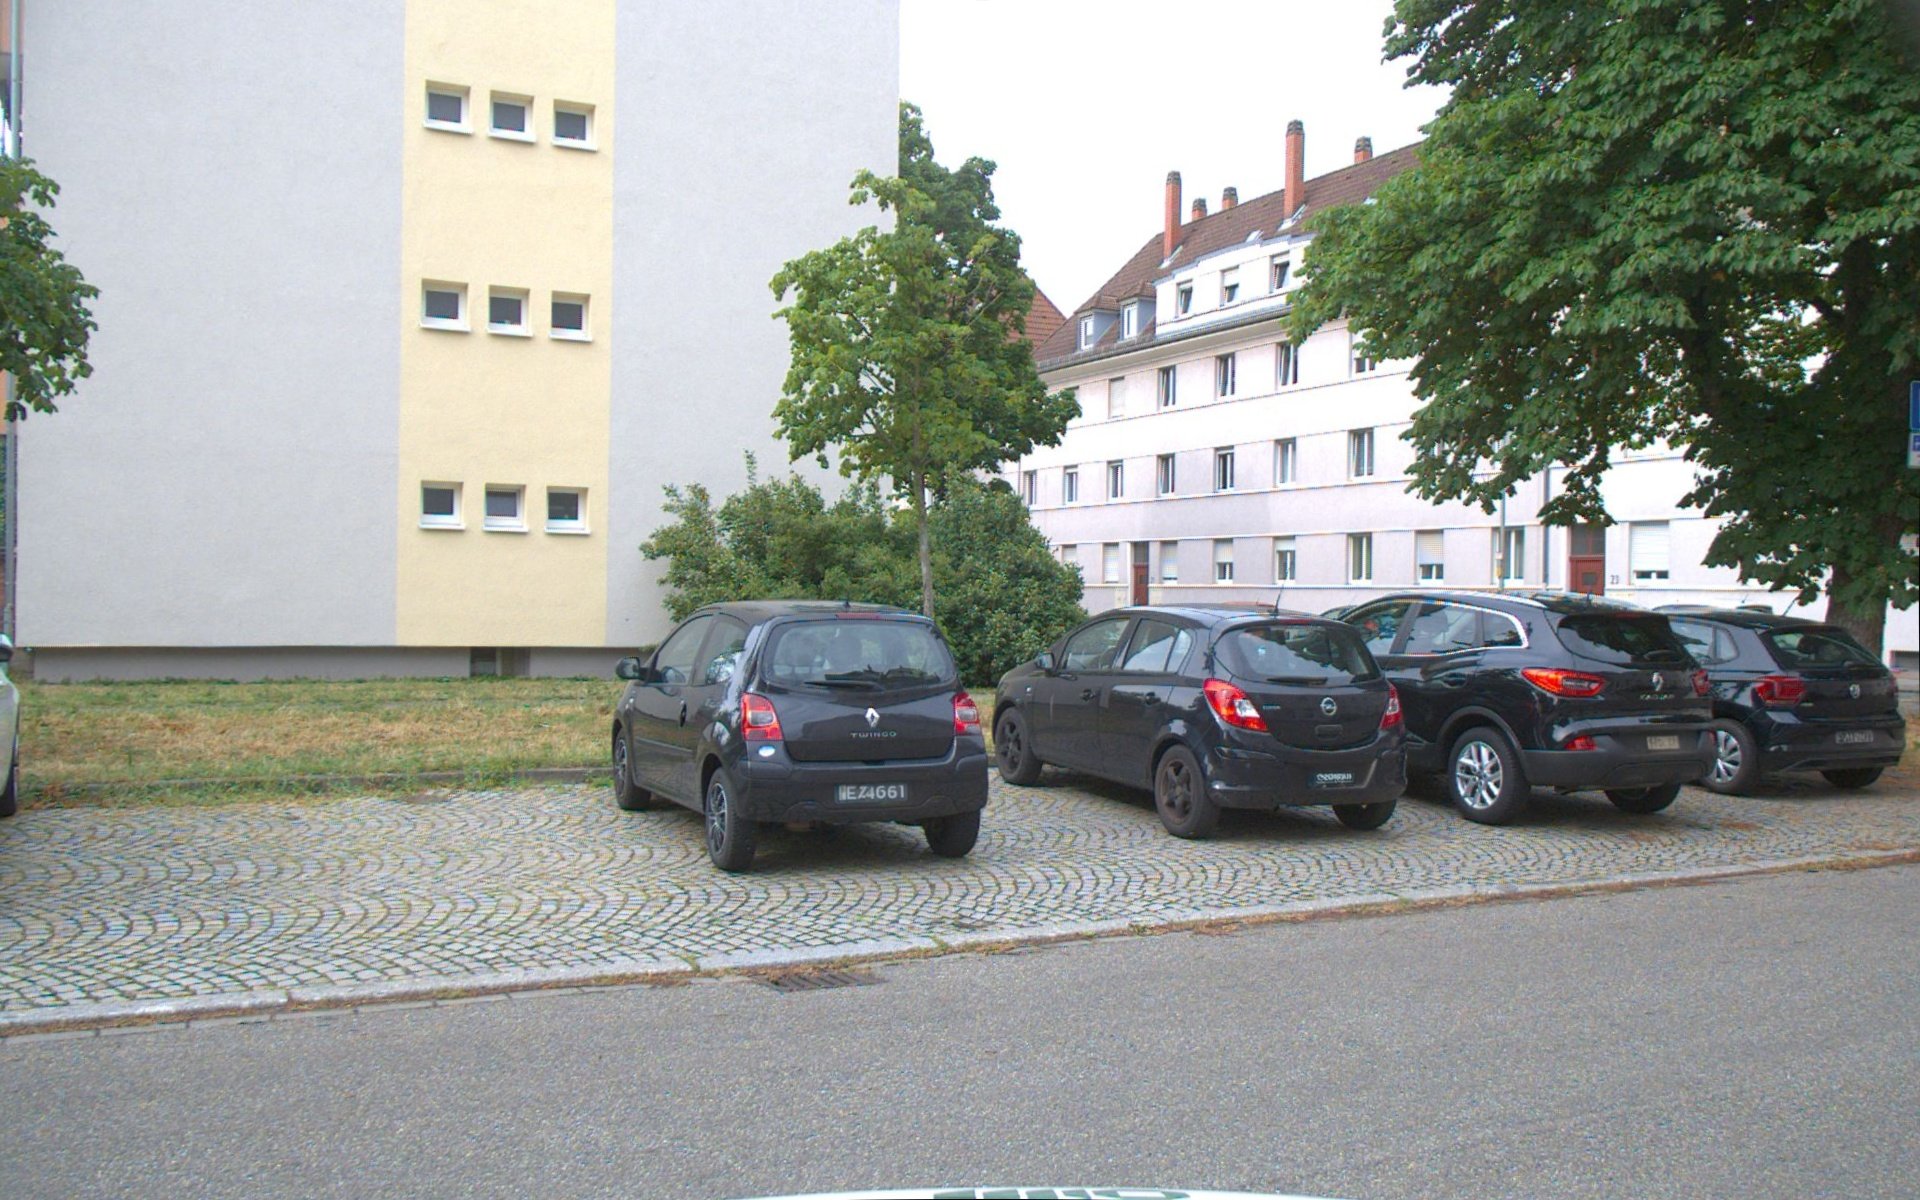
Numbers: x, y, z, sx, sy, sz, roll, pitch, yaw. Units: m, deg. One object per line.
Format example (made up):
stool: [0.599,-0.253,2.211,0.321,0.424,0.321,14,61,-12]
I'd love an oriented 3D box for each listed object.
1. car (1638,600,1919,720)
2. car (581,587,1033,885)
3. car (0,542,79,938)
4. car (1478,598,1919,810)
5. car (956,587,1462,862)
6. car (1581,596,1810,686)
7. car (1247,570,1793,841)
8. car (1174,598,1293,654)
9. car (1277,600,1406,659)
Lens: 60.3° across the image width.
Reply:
car: [11.762,0.818,23.929,1.504,1.519,3.566,3,-1,-23]
car: [-1.273,0.714,11.154,1.810,1.489,4.530,1,1,-22]
car: [-5.838,0.536,8.737,1.855,1.587,4.116,2,3,-26]
car: [6.626,0.796,14.785,1.800,1.605,3.815,0,0,-23]
car: [1.615,0.759,12.426,1.810,1.593,4.328,1,1,-22]
car: [15.405,0.807,34.869,1.821,1.703,4.251,-1,1,-27]
car: [4.149,0.668,12.999,1.884,1.727,4.042,1,1,-22]
car: [8.122,0.728,49.374,1.675,1.552,3.795,-1,1,-25]
car: [10.315,0.774,44.921,1.546,1.499,3.669,1,0,-24]
